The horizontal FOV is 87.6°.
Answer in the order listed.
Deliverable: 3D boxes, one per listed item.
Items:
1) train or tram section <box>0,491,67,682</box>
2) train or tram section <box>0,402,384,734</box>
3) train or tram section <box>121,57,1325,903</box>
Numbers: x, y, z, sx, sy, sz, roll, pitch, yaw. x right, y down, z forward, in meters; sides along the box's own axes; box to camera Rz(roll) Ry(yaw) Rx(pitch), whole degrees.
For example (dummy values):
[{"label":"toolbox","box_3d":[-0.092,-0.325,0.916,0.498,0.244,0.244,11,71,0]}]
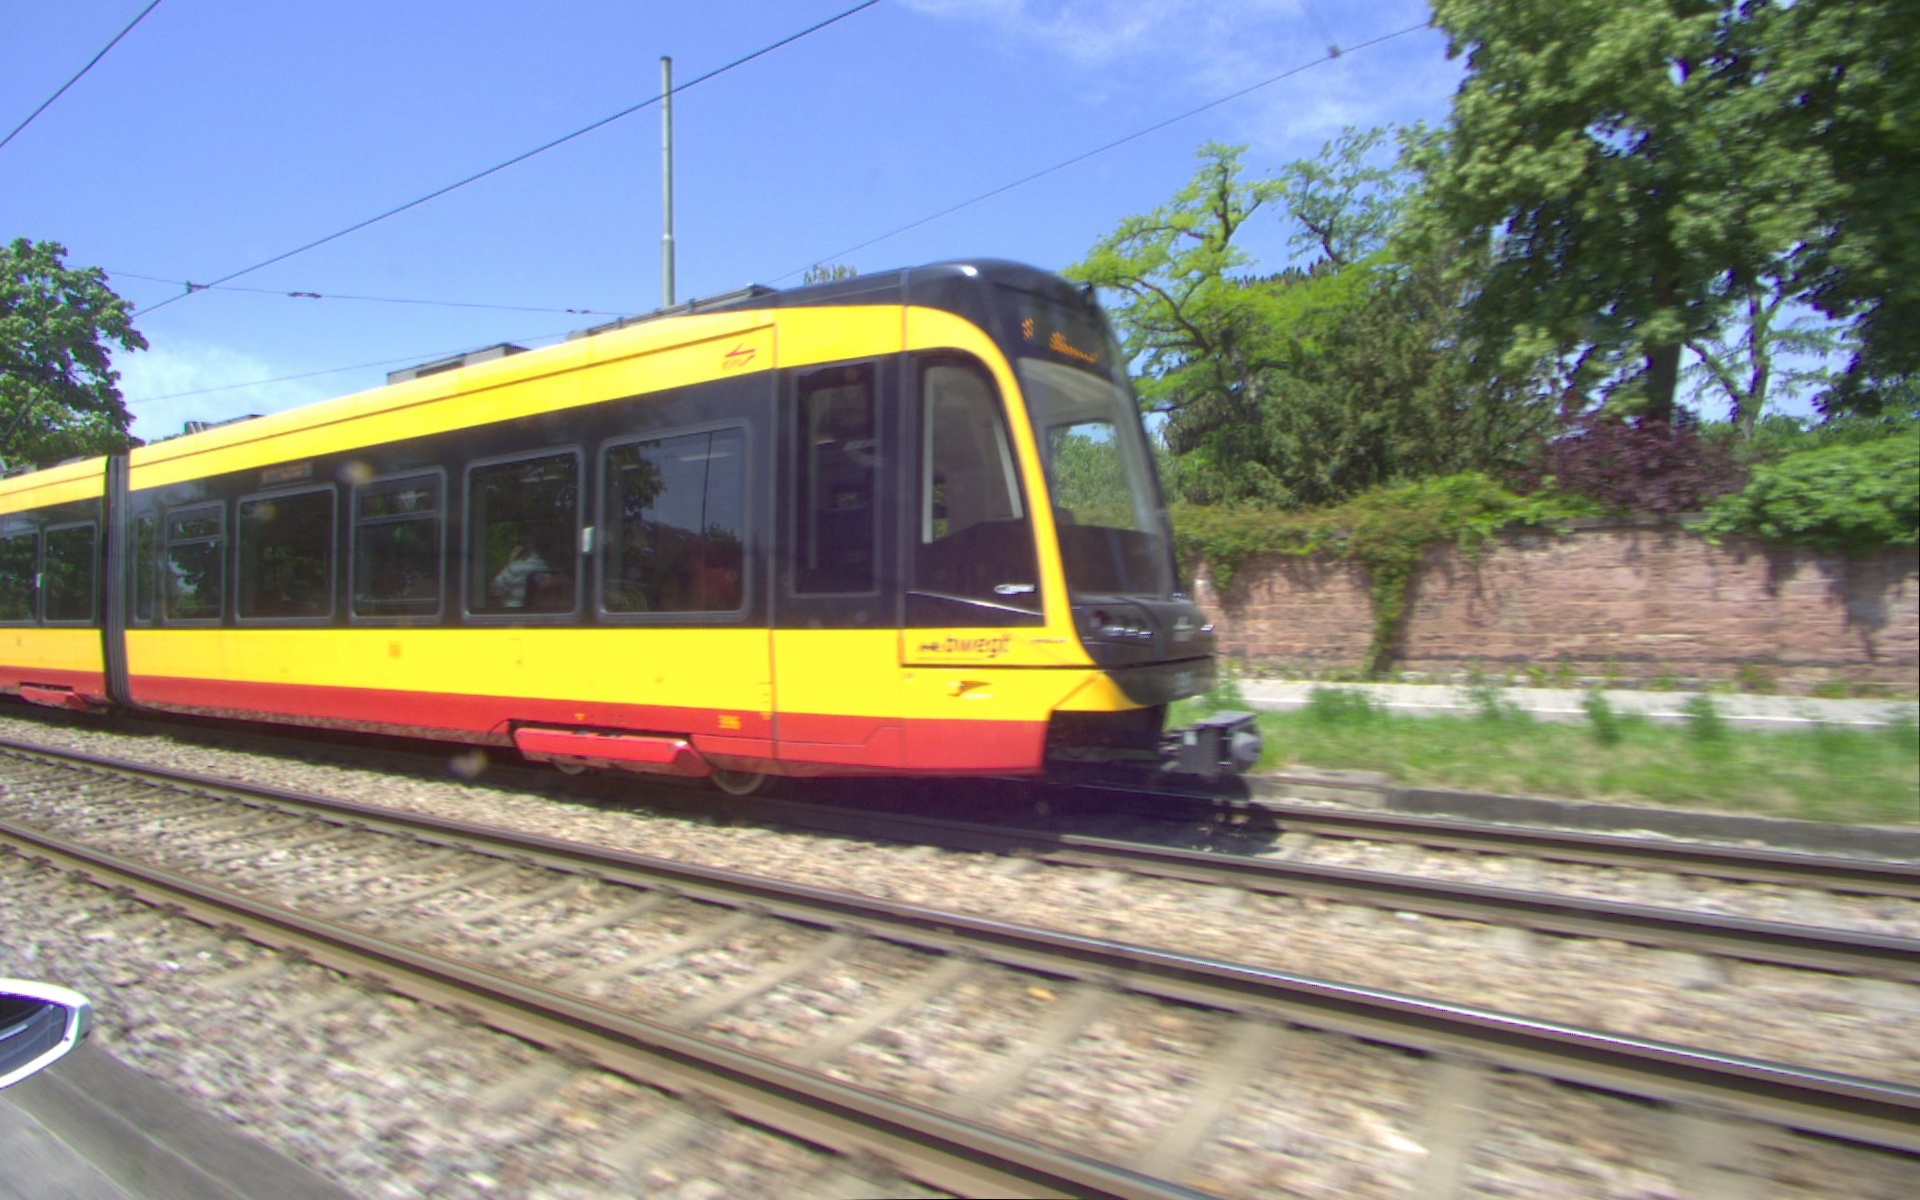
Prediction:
[{"label":"train or tram section","box_3d":[-24.929,-0.210,23.291,12.581,3.848,3.021,-1,0,33]},{"label":"train or tram section","box_3d":[-14.378,-0.309,16.454,12.906,3.848,3.021,-1,0,33]},{"label":"train or tram section","box_3d":[-3.604,-0.476,9.419,12.907,3.848,3.021,-1,0,34]}]
